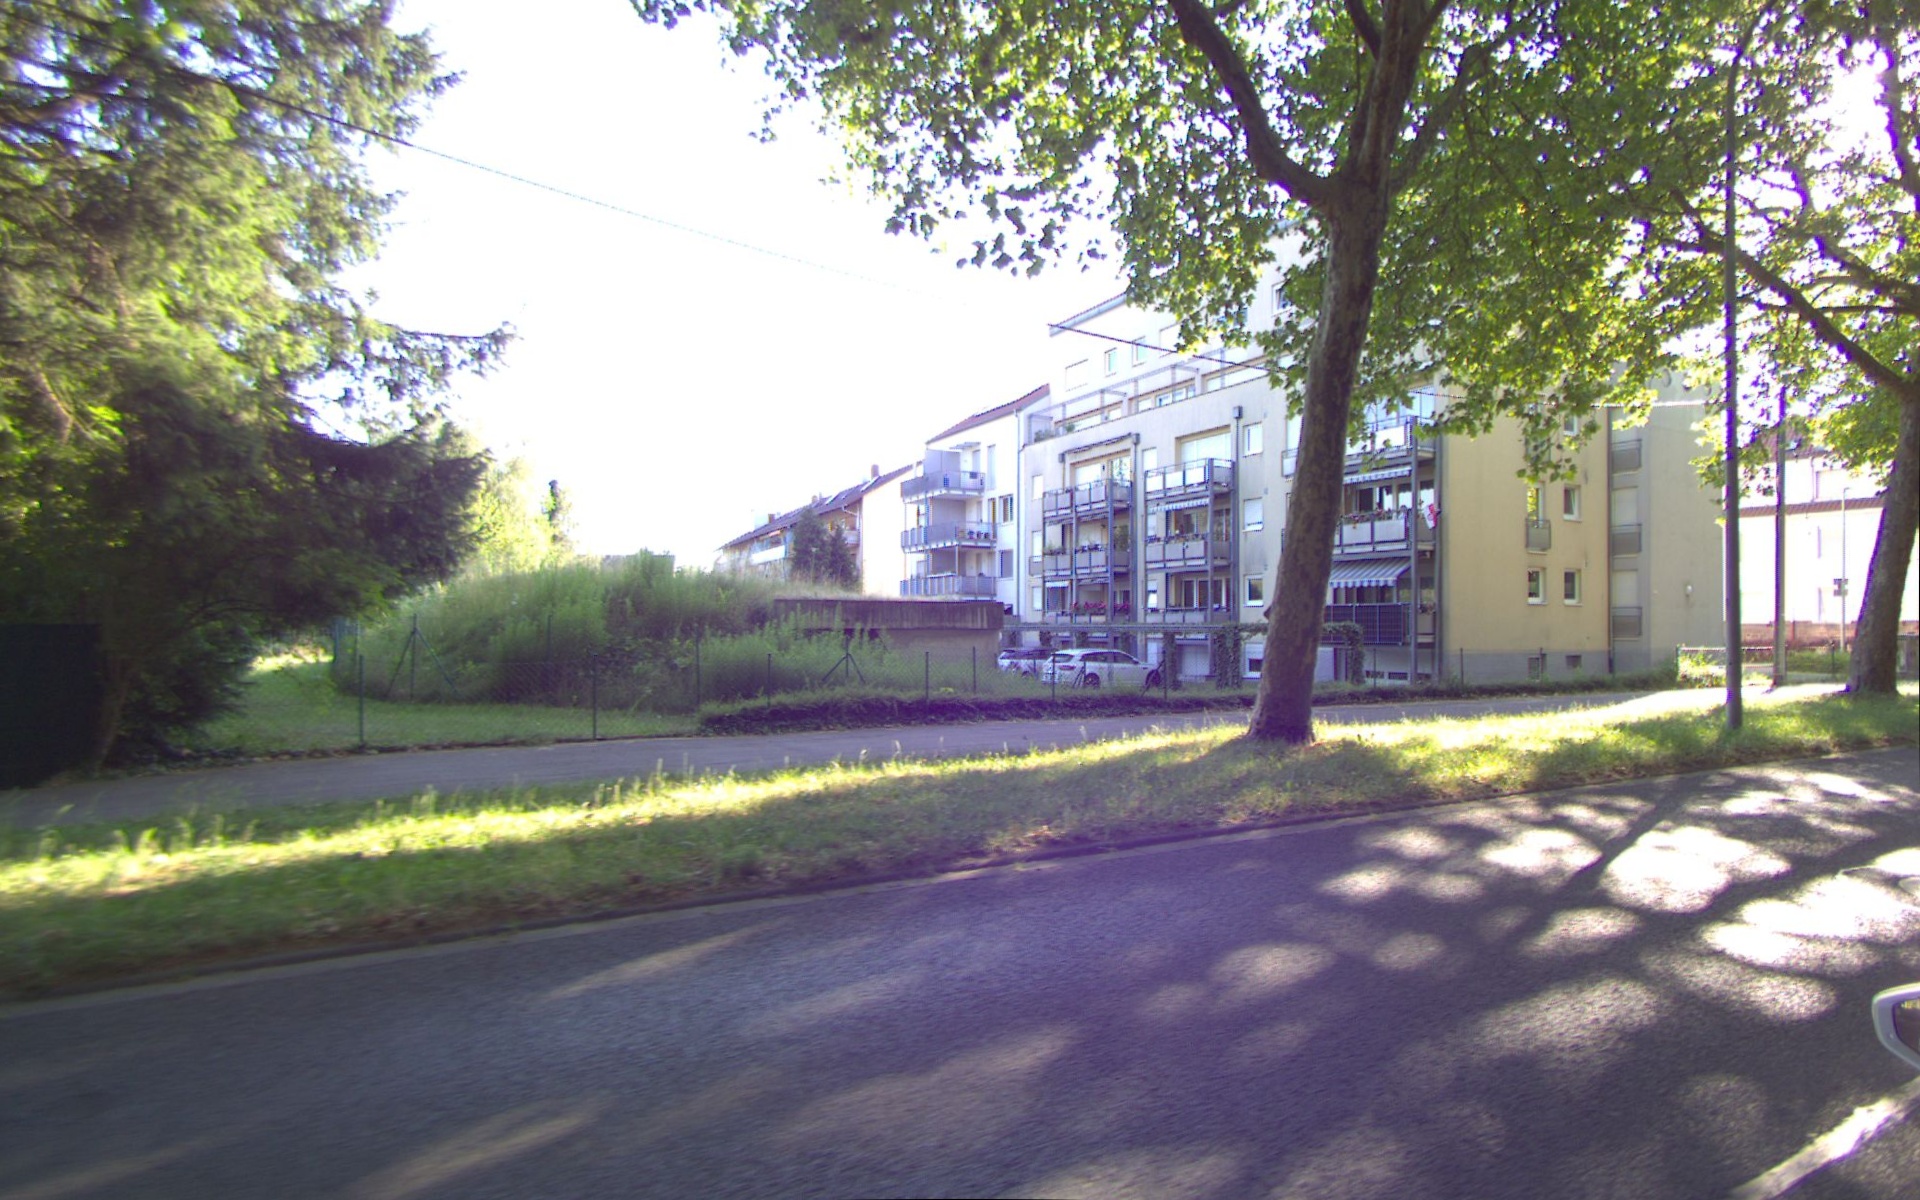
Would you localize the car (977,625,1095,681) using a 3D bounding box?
[{"bbox_3d":[2.791,1.896,36.715,3.953,1.871,1.841,0,0,-30],"label":"car"}]

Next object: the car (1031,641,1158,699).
[{"bbox_3d":[4.578,2.328,34.137,3.958,1.737,1.982,1,0,-34],"label":"car"}]
